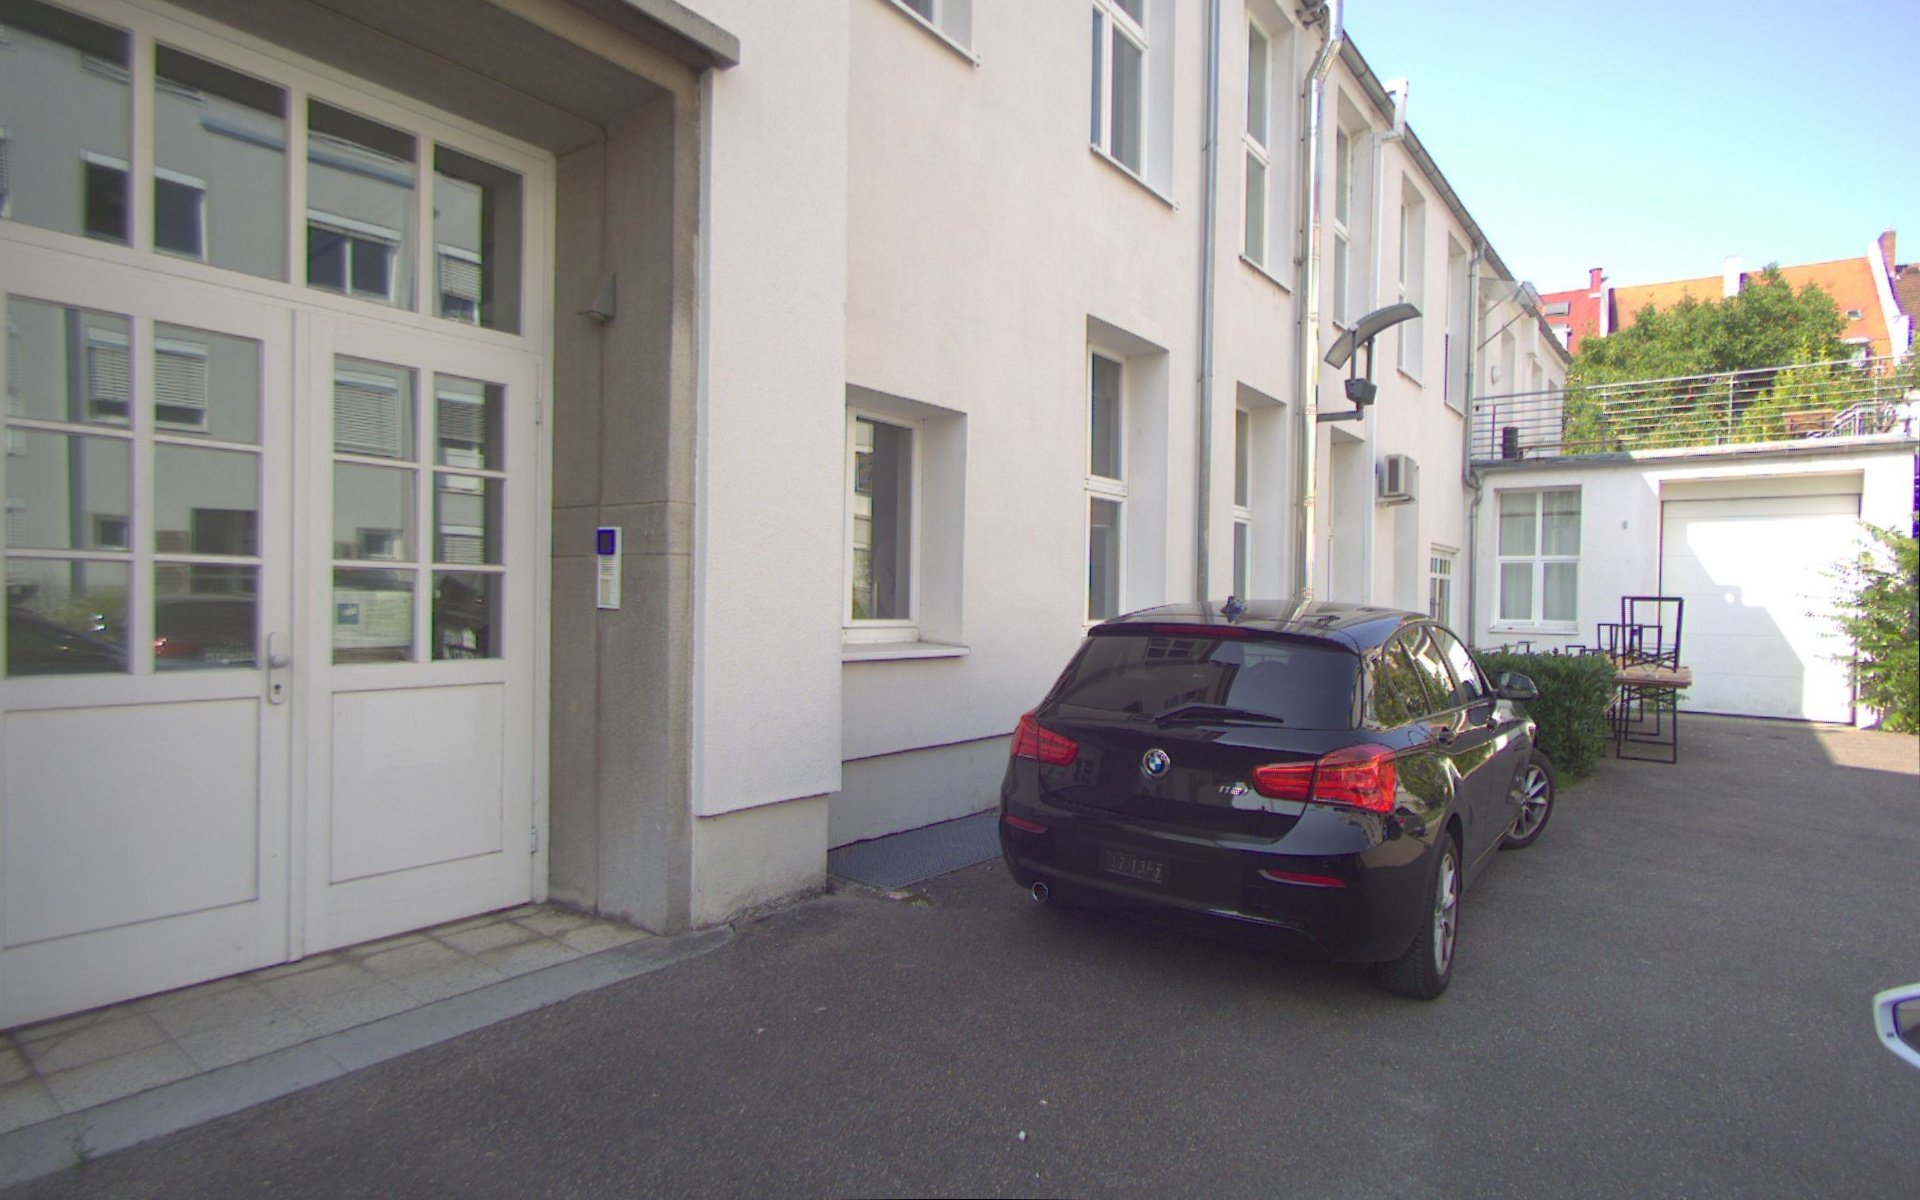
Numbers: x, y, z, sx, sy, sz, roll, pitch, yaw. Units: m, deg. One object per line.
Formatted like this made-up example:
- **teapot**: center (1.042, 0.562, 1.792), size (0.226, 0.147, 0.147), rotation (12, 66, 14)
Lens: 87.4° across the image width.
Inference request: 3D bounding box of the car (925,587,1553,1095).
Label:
- **car**: center (1.779, 0.707, 5.119), size (1.769, 1.447, 4.122), rotation (2, 1, 35)
